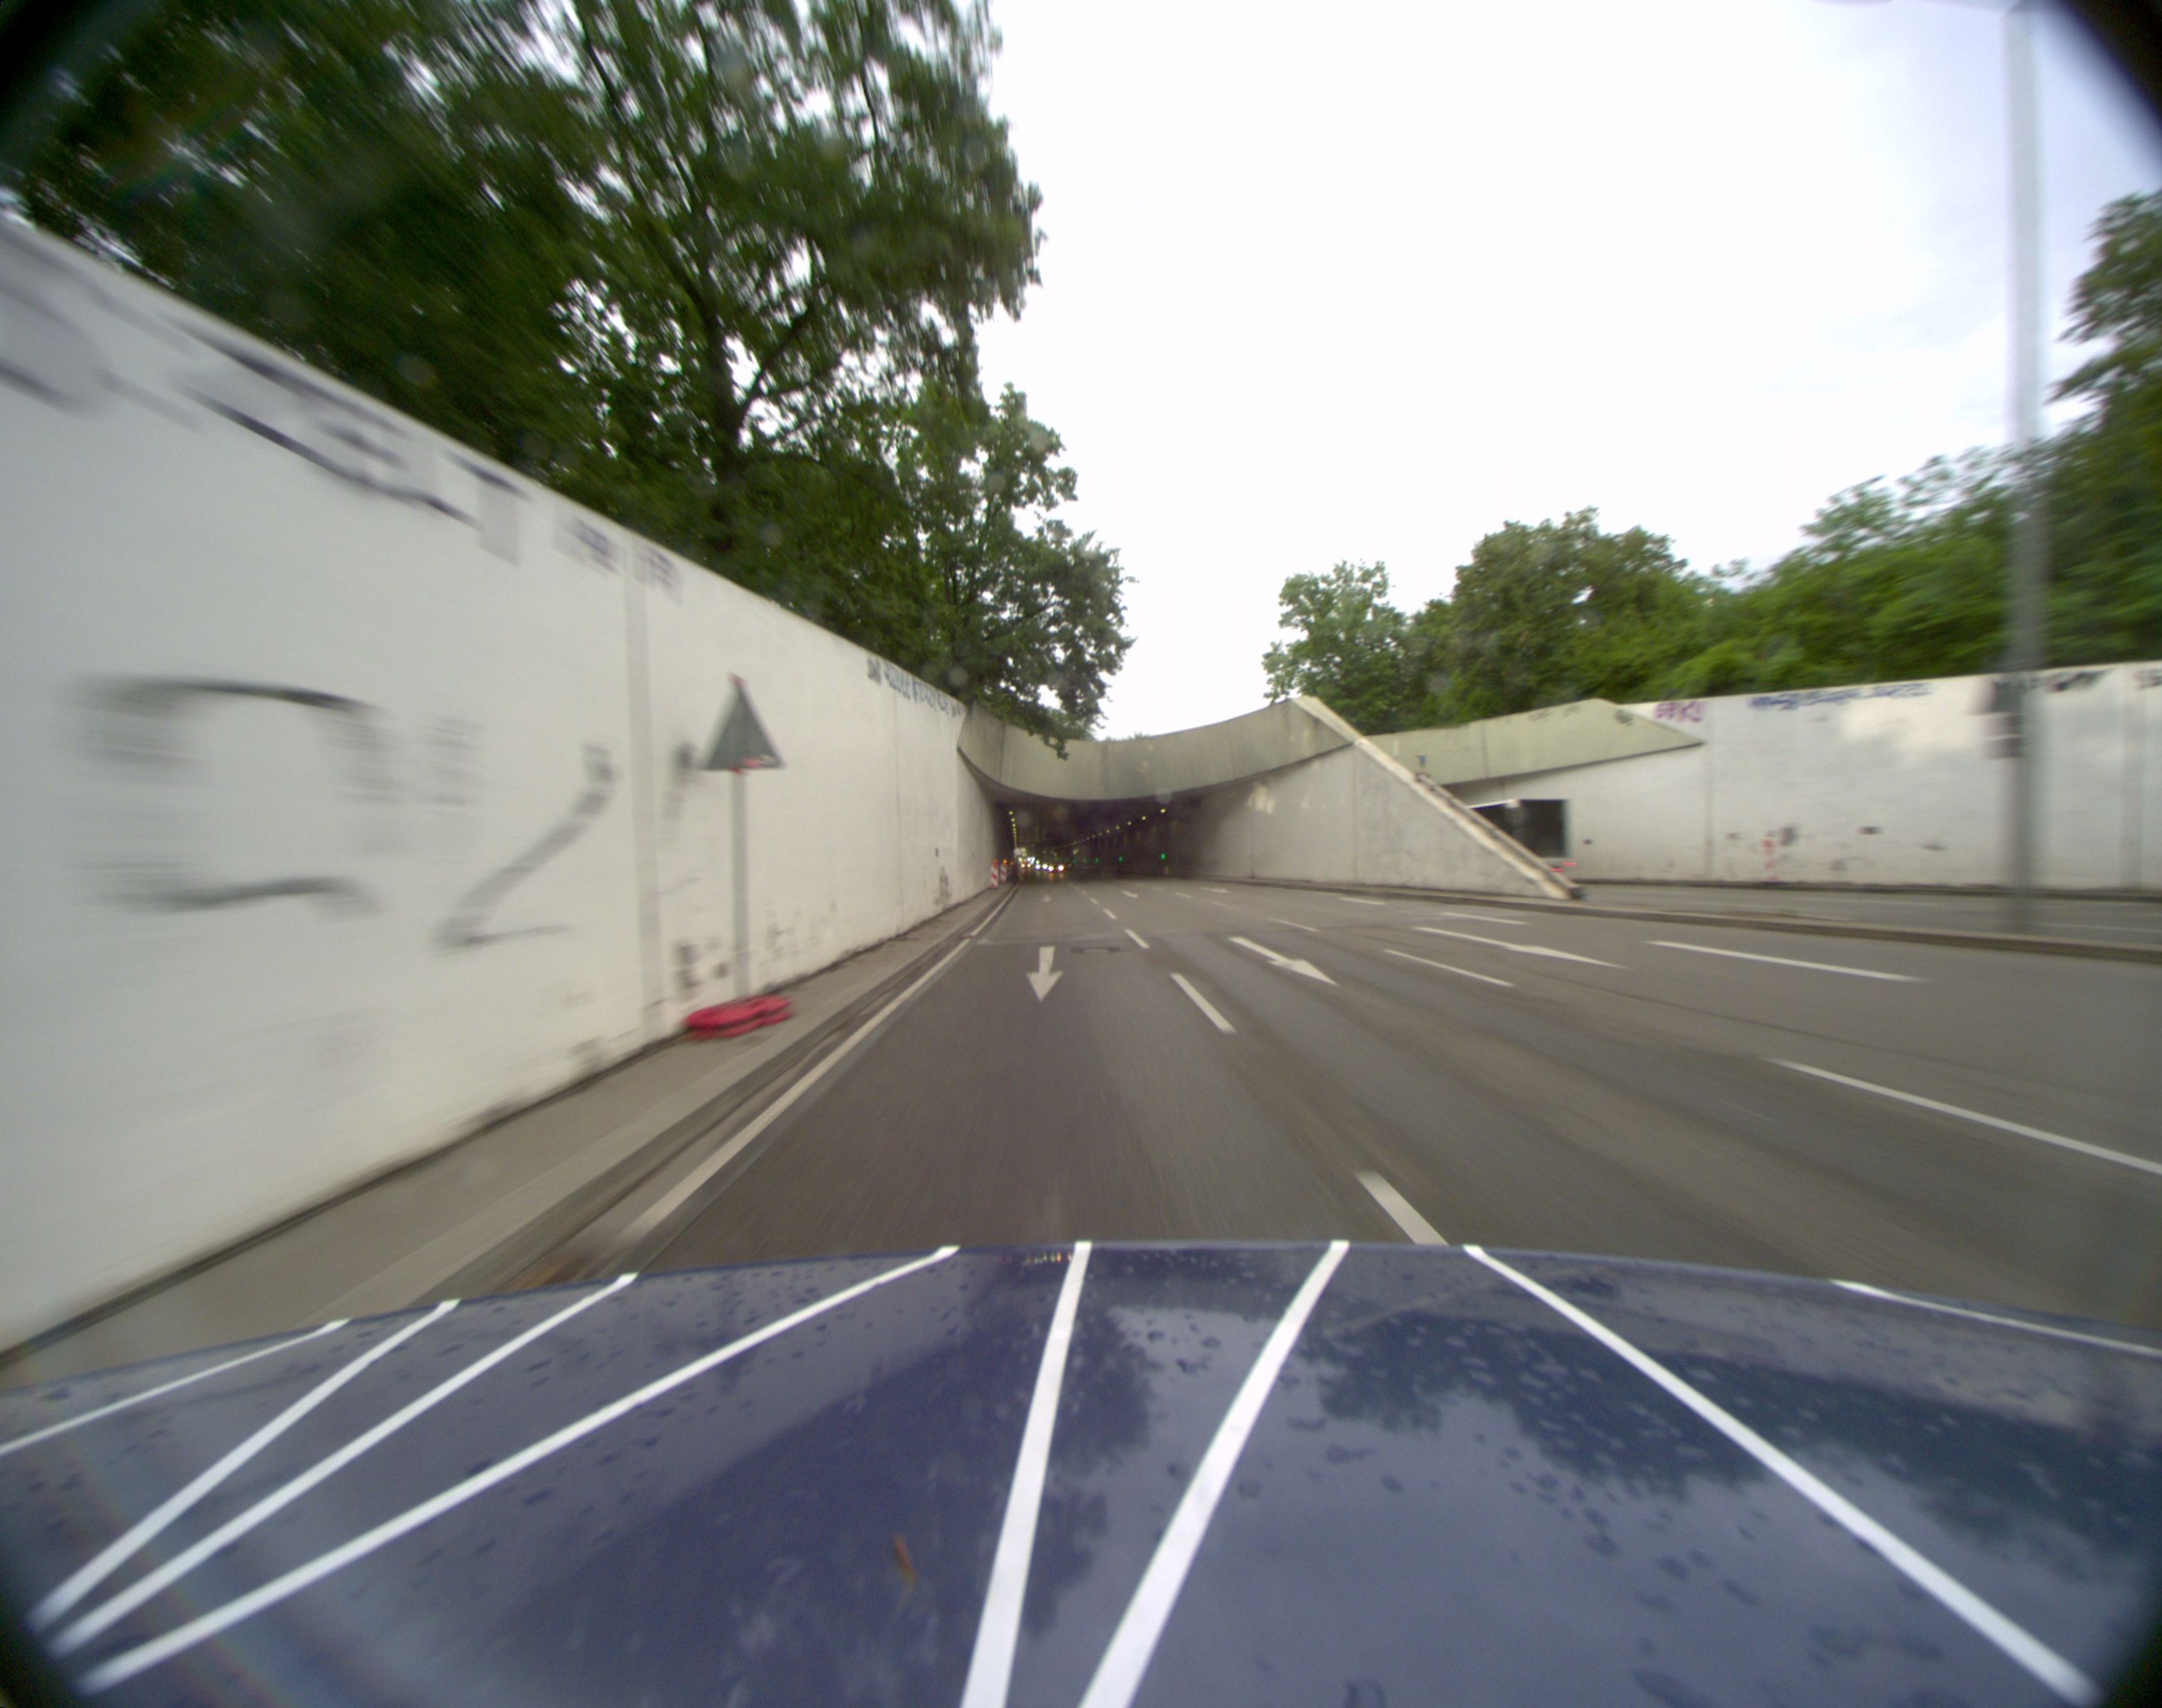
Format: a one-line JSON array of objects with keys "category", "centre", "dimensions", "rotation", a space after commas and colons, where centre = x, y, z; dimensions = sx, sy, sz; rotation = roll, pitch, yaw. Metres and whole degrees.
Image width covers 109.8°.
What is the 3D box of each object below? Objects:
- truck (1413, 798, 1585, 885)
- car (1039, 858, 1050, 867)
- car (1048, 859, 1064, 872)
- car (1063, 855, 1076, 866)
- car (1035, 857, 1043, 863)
[{"category": "truck", "centre": [17.649, -0.475, 32.769], "dimensions": [2.806, 3.257, 7.142], "rotation": [-2, 0, -7]}, {"category": "car", "centre": [-7.221, 1.597, 150.180], "dimensions": [1.999, 1.685, 3.998], "rotation": [2, -1, -4]}, {"category": "car", "centre": [-3.429, 1.536, 105.261], "dimensions": [1.999, 1.685, 3.998], "rotation": [2, -1, -4]}, {"category": "car", "centre": [-1.947, 1.089, 126.442], "dimensions": [1.999, 1.685, 3.998], "rotation": [2, -1, -4]}, {"category": "car", "centre": [-12.396, 1.753, 223.537], "dimensions": [1.999, 1.756, 3.998], "rotation": [-2, 1, -4]}]
